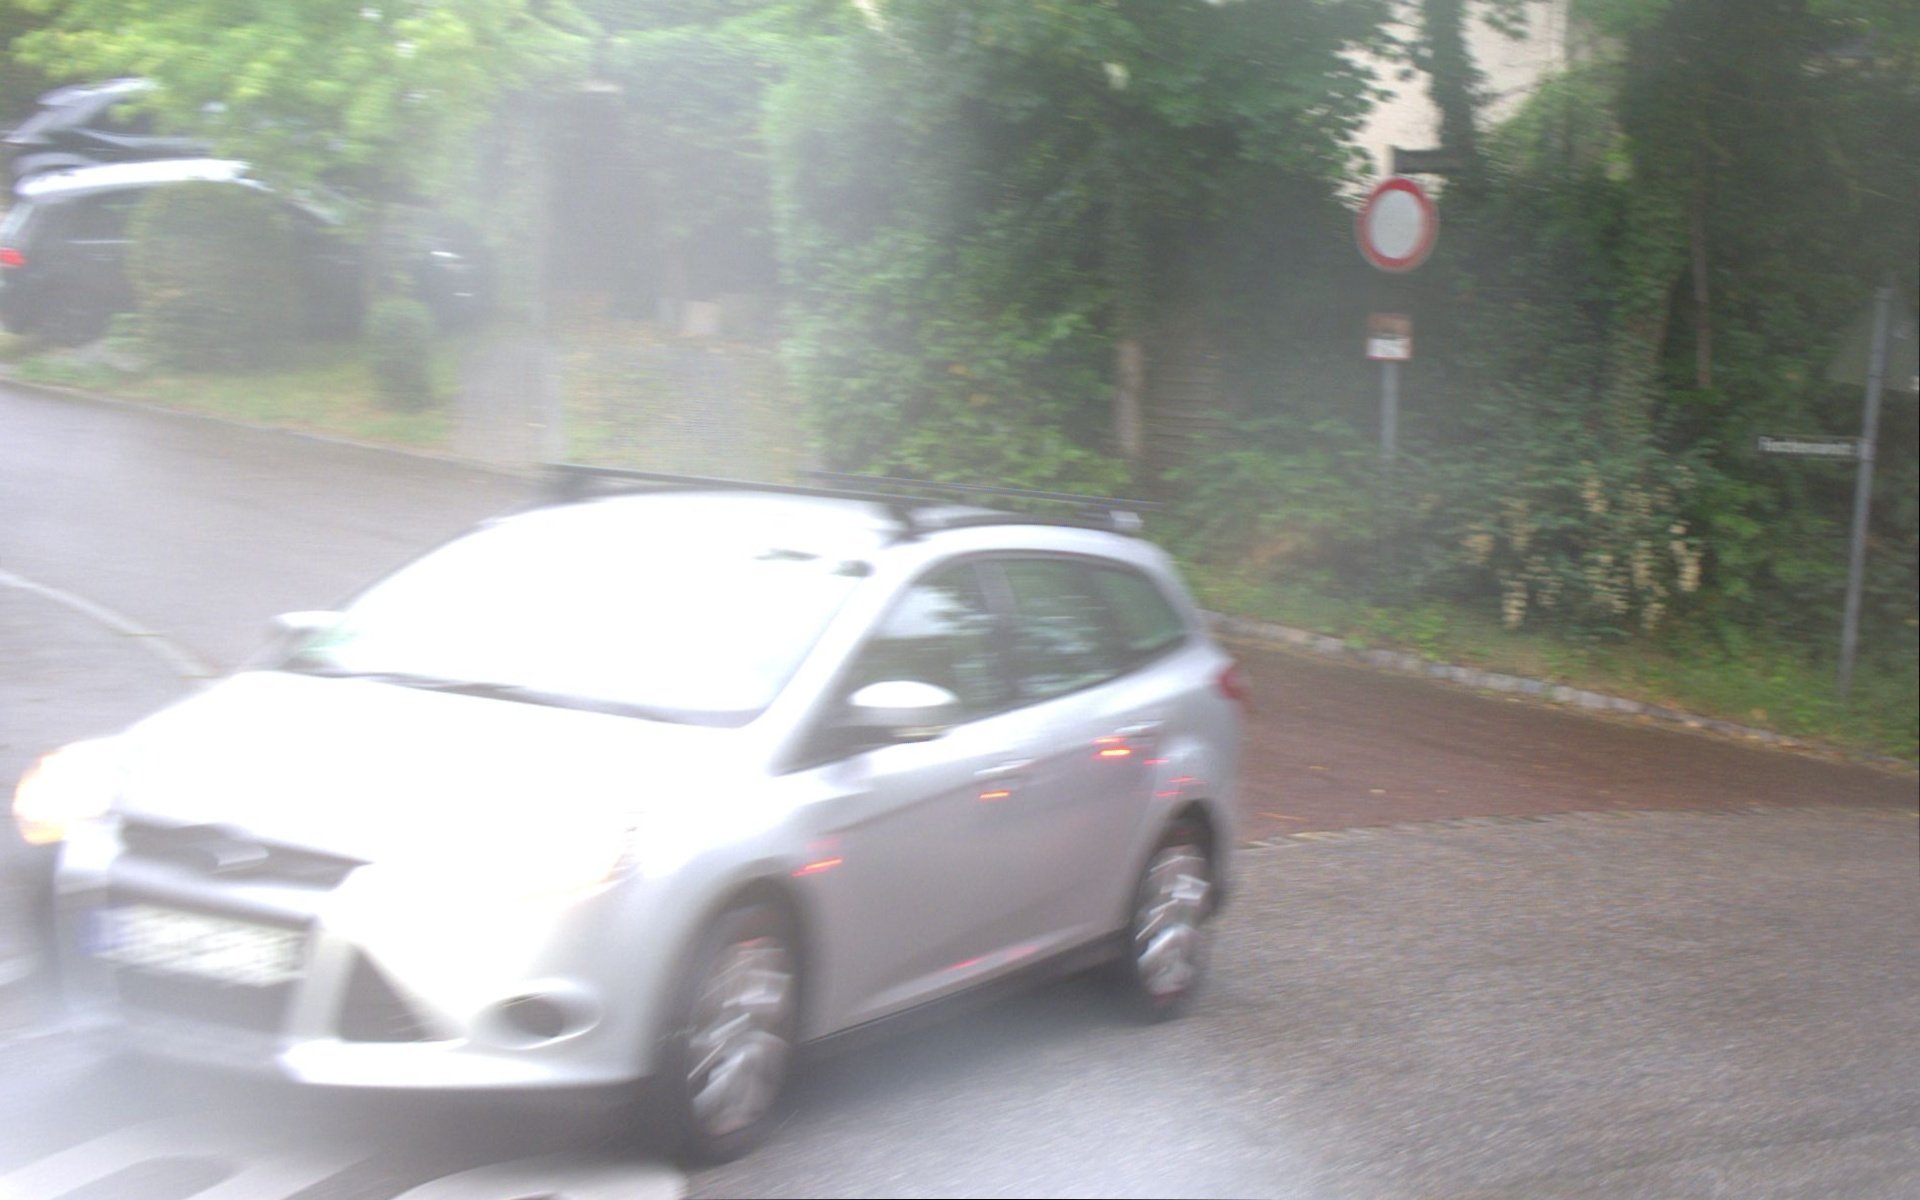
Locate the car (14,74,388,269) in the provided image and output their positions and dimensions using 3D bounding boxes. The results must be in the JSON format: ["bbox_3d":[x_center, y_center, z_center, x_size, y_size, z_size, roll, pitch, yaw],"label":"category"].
[{"bbox_3d":[-7.365,-4.203,33.644,3.396,1.568,1.595,1,16,-6],"label":"car"}]

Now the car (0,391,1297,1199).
[{"bbox_3d":[-0.688,0.394,9.094,1.675,1.532,4.115,7,3,26],"label":"car"}]

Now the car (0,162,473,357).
[{"bbox_3d":[-6.131,-2.880,28.951,3.986,1.411,1.701,0,12,-9],"label":"car"}]
